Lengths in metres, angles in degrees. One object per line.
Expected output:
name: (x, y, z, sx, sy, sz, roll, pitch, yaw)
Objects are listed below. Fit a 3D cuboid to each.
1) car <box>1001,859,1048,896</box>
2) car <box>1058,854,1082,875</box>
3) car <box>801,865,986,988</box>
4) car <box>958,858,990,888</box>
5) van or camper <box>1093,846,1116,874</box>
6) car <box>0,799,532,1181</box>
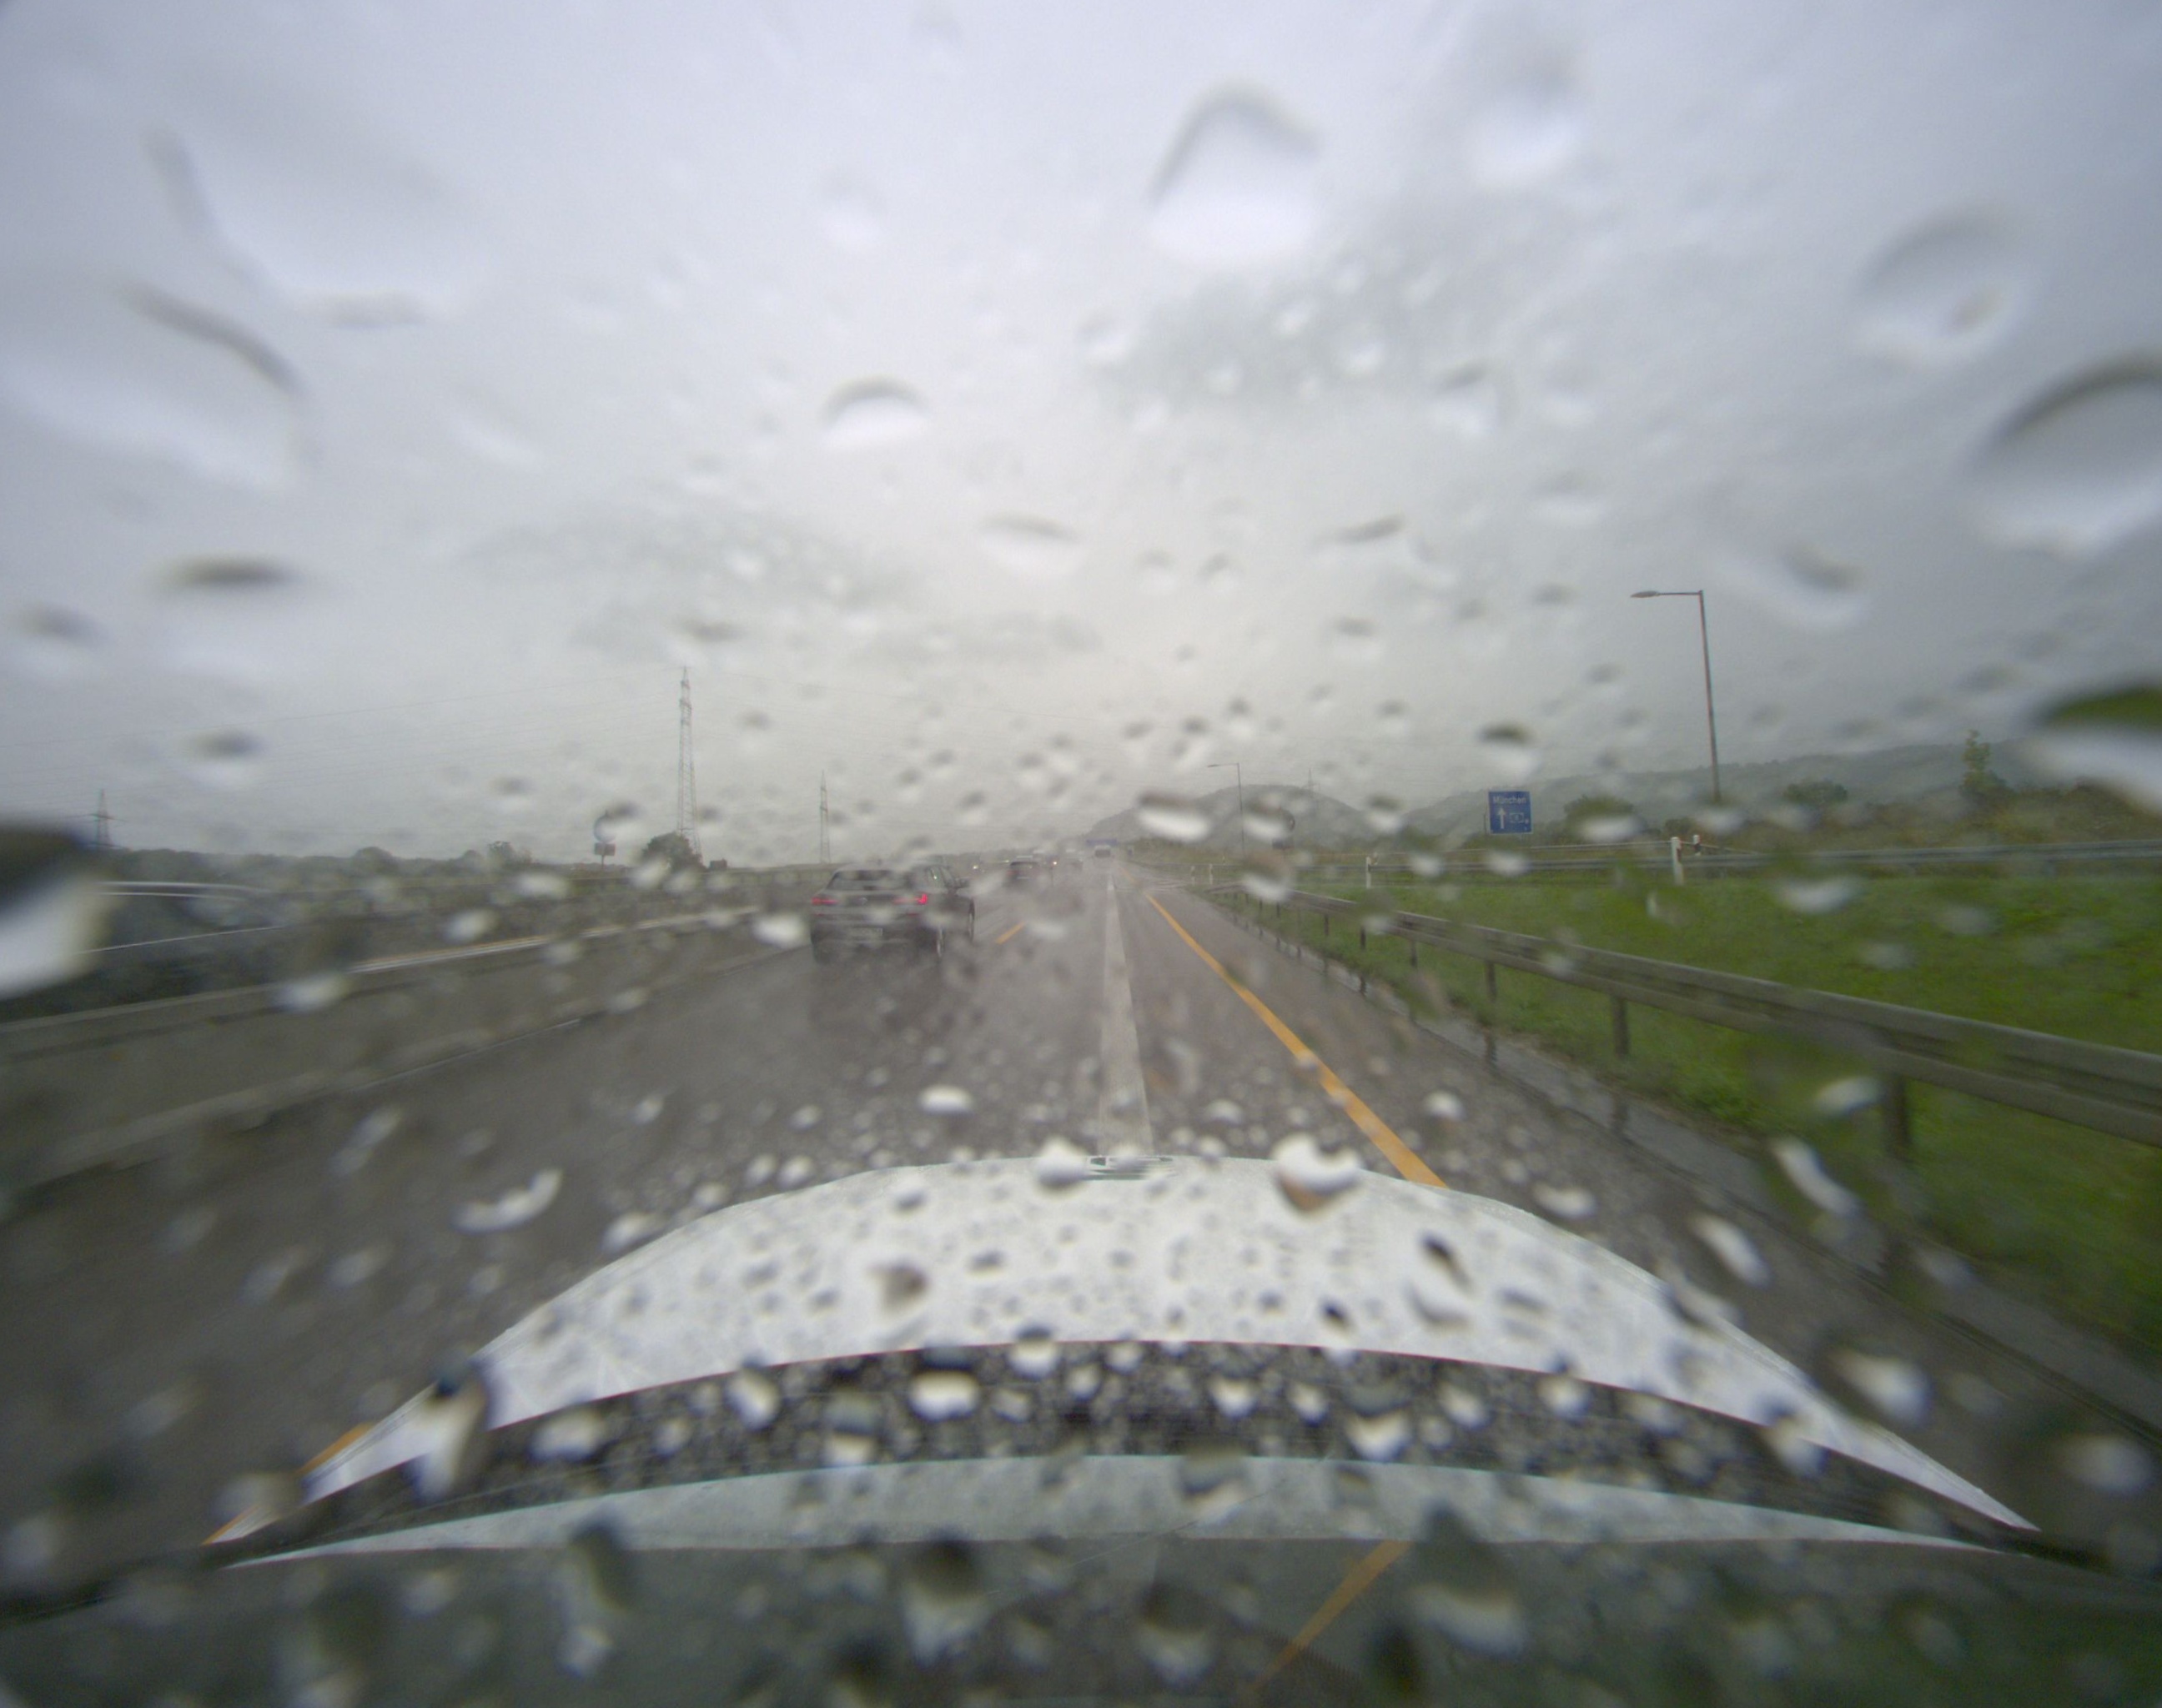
car: (-2.383, 1.003, 35.119, 1.839, 1.491, 4.257, 0, -2, -2)
car: (-0.889, 0.835, 64.772, 1.839, 1.491, 4.259, -3, 0, -1)
car: (-2.758, 1.017, 13.145, 1.694, 1.598, 4.847, -1, -2, 2)
car: (-7.818, 1.366, 59.809, 1.829, 2.013, 4.000, 0, 1, 0)
van or camper: (2.351, 0.621, 82.530, 1.991, 2.778, 4.045, 0, -2, -2)
car: (-6.620, 0.743, 5.793, 1.986, 2.002, 4.802, -2, 0, 2)
